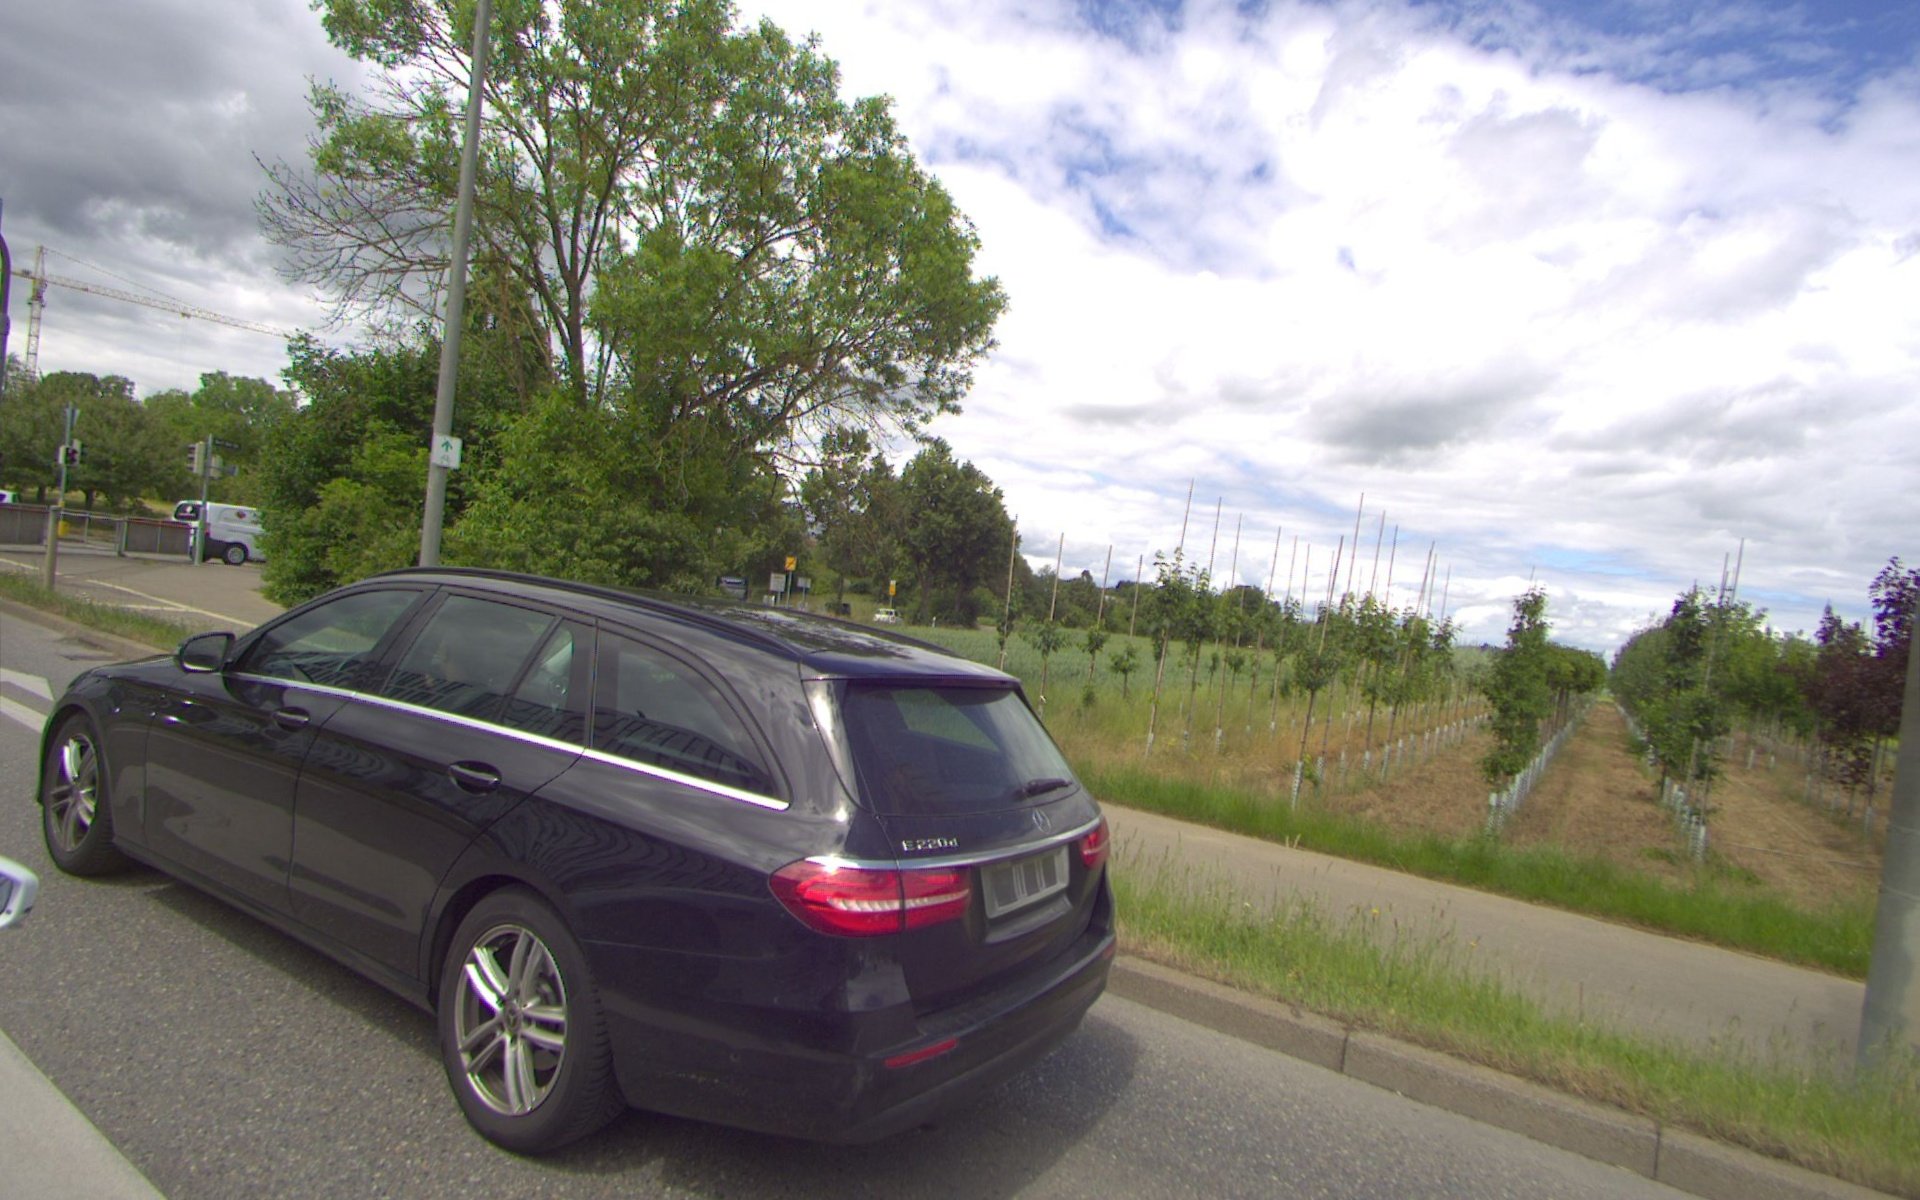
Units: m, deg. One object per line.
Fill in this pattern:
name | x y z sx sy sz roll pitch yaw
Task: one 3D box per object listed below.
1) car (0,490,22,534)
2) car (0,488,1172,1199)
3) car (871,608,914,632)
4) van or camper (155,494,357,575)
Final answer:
car | -38.118 -3.602 37.824 3.973 1.548 1.977 8 -1 -42
car | -1.976 0.529 4.082 5.111 1.459 1.875 7 1 29
car | -4.587 1.393 68.961 1.657 1.362 3.392 7 0 17
van or camper | -22.584 -2.038 32.550 1.964 1.882 4.942 7 0 23
